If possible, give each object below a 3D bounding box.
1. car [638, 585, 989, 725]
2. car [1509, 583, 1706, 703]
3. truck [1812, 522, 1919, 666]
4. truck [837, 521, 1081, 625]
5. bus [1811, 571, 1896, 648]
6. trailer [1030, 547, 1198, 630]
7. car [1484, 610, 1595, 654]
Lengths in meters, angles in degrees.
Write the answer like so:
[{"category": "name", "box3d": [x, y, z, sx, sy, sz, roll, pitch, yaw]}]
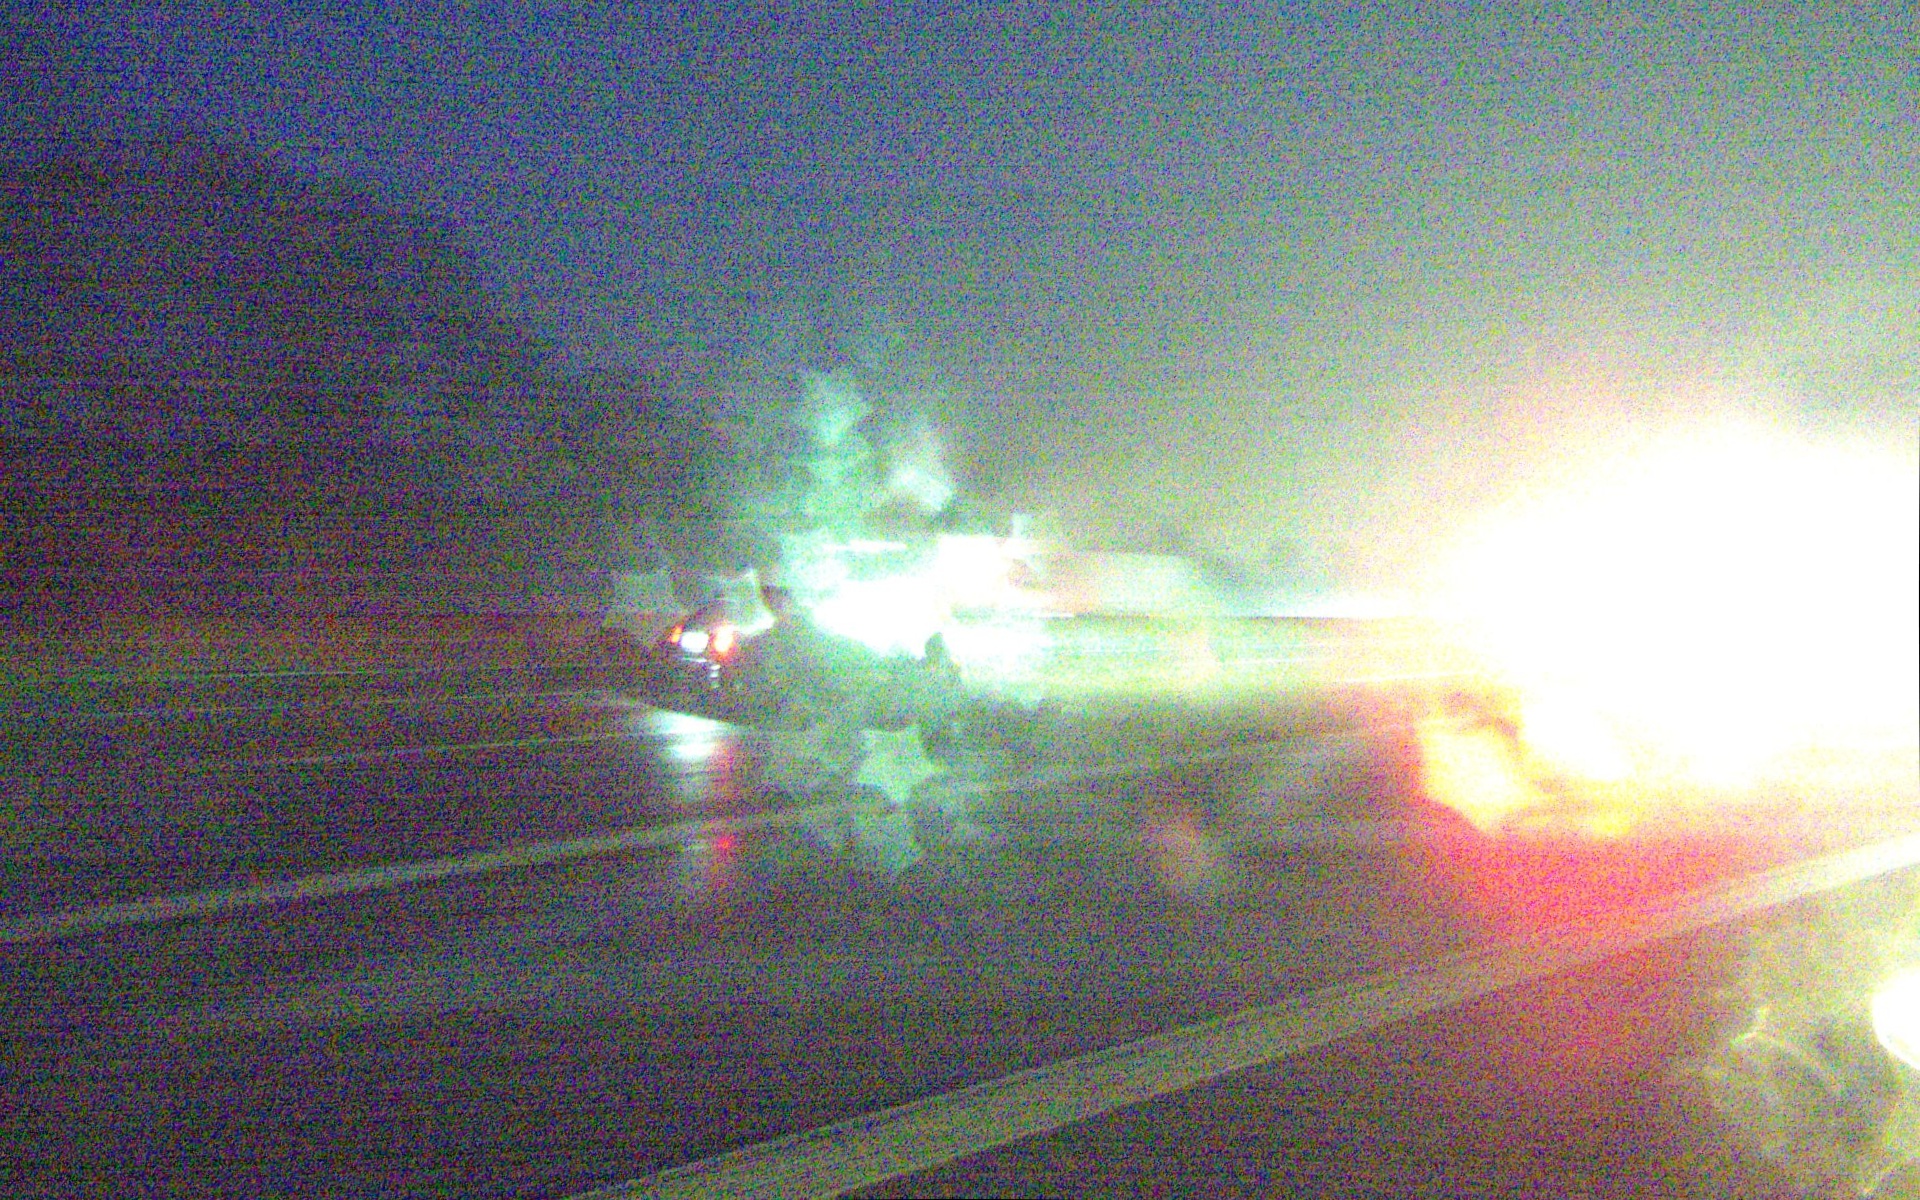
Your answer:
[{"category": "car", "box3d": [-1.783, 0.619, 12.806, 3.966, 1.460, 1.977, 2, 1, -39]}, {"category": "car", "box3d": [12.882, 0.789, 19.864, 4.611, 2.040, 2.106, 1, 1, -42]}, {"category": "truck", "box3d": [41.708, -0.170, 44.448, 11.376, 5.724, 4.174, 2, 1, -41]}, {"category": "truck", "box3d": [0.273, -0.948, 41.073, 10.777, 3.743, 2.603, 2, 1, -41]}, {"category": "bus", "box3d": [58.047, 0.665, 65.115, 10.837, 4.568, 3.067, 1, 1, -43]}, {"category": "trailer", "box3d": [7.390, -0.462, 47.192, 8.818, 3.556, 2.603, 2, 1, -41]}, {"category": "car", "box3d": [22.364, 1.233, 38.696, 5.121, 1.496, 1.977, 2, 1, -39]}]
